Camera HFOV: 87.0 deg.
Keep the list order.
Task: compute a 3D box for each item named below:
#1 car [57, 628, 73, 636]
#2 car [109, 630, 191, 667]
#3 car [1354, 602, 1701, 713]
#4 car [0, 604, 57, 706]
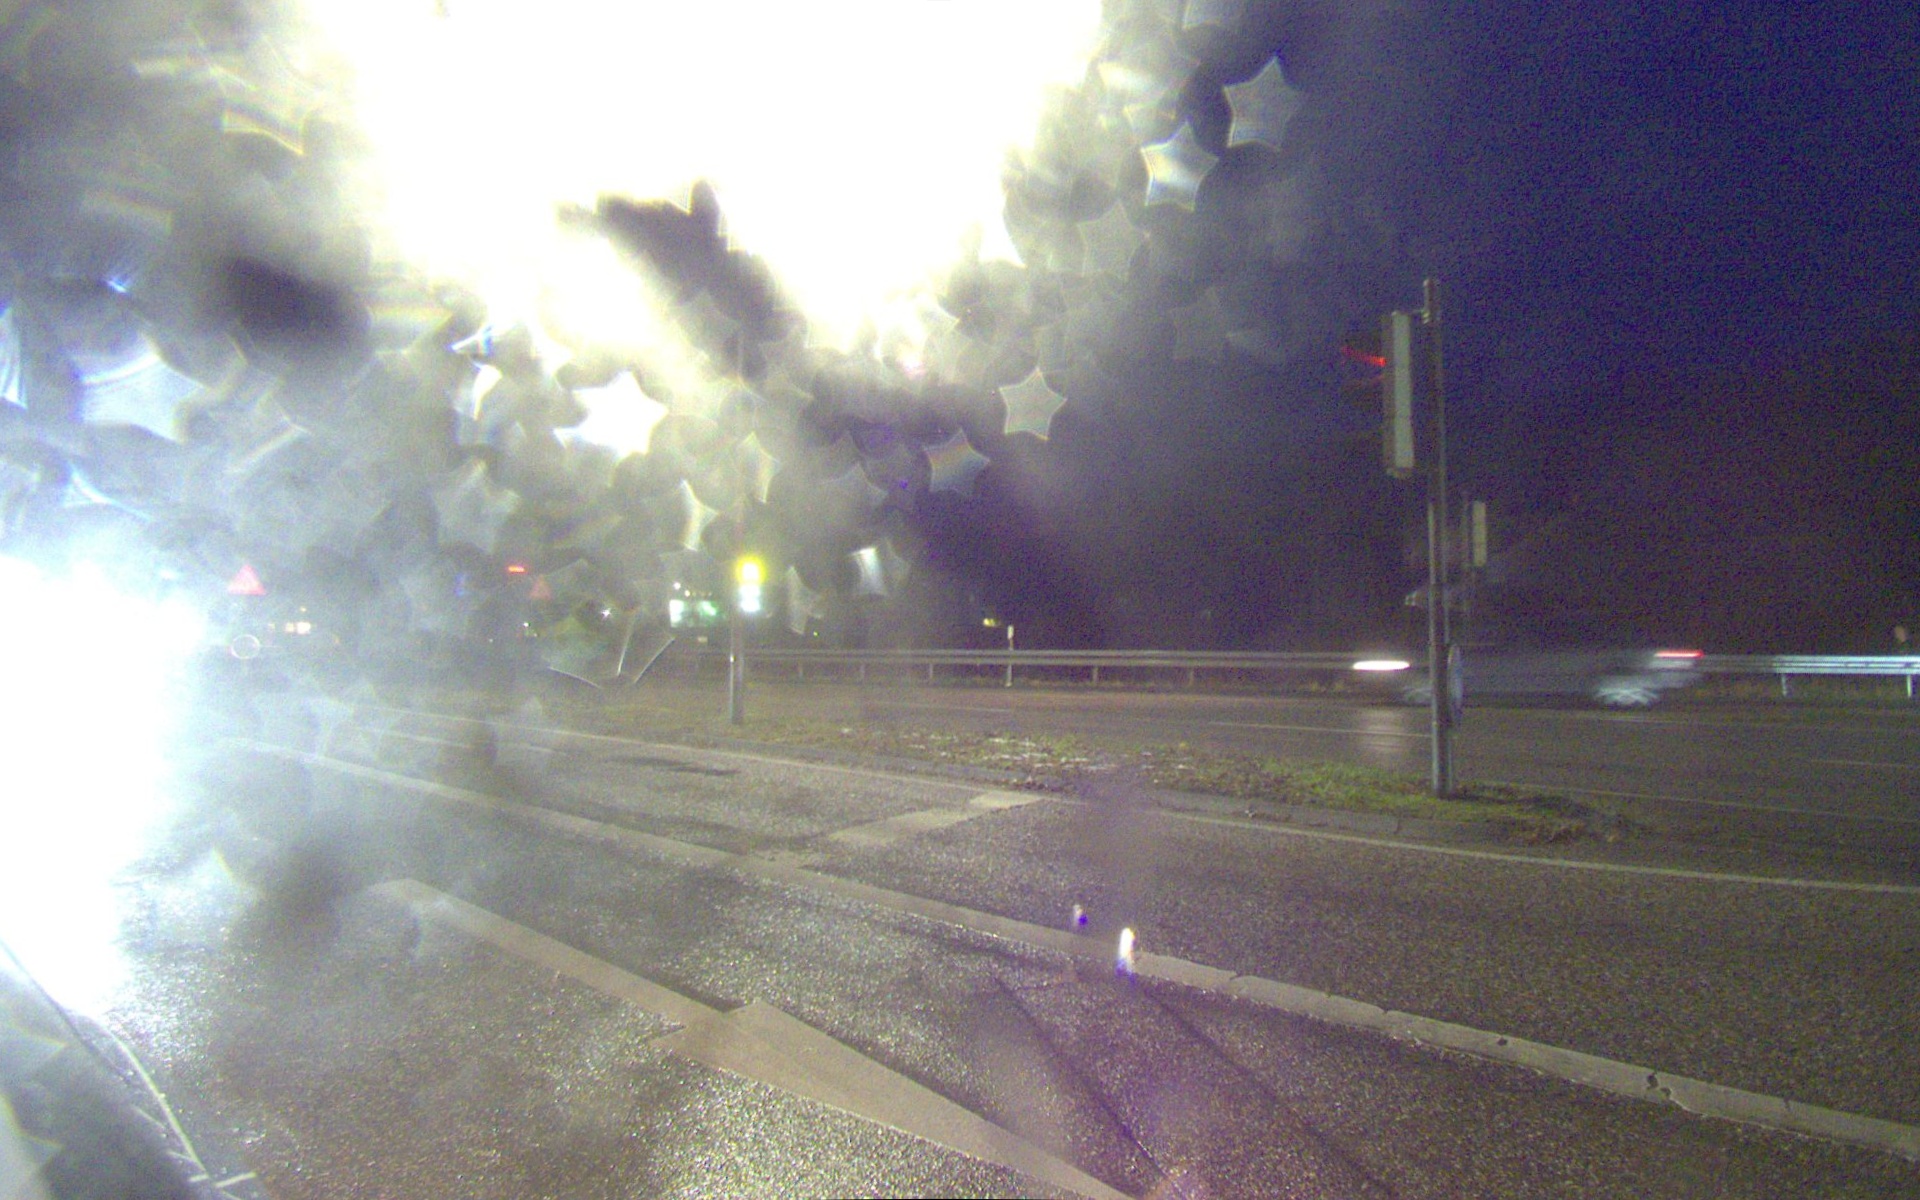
[{"bbox_3d":[-166.399,5.931,188.199,1.779,1.435,4.215,0,0,-36],"label":"car"},{"bbox_3d":[-37.321,2.201,46.591,4.882,1.515,1.731,0,0,36],"label":"car"},{"bbox_3d":[8.466,0.851,15.529,4.334,1.510,1.651,0,-3,15],"label":"car"},{"bbox_3d":[-18.235,0.978,18.538,4.935,1.717,1.890,-1,-2,41],"label":"car"}]
